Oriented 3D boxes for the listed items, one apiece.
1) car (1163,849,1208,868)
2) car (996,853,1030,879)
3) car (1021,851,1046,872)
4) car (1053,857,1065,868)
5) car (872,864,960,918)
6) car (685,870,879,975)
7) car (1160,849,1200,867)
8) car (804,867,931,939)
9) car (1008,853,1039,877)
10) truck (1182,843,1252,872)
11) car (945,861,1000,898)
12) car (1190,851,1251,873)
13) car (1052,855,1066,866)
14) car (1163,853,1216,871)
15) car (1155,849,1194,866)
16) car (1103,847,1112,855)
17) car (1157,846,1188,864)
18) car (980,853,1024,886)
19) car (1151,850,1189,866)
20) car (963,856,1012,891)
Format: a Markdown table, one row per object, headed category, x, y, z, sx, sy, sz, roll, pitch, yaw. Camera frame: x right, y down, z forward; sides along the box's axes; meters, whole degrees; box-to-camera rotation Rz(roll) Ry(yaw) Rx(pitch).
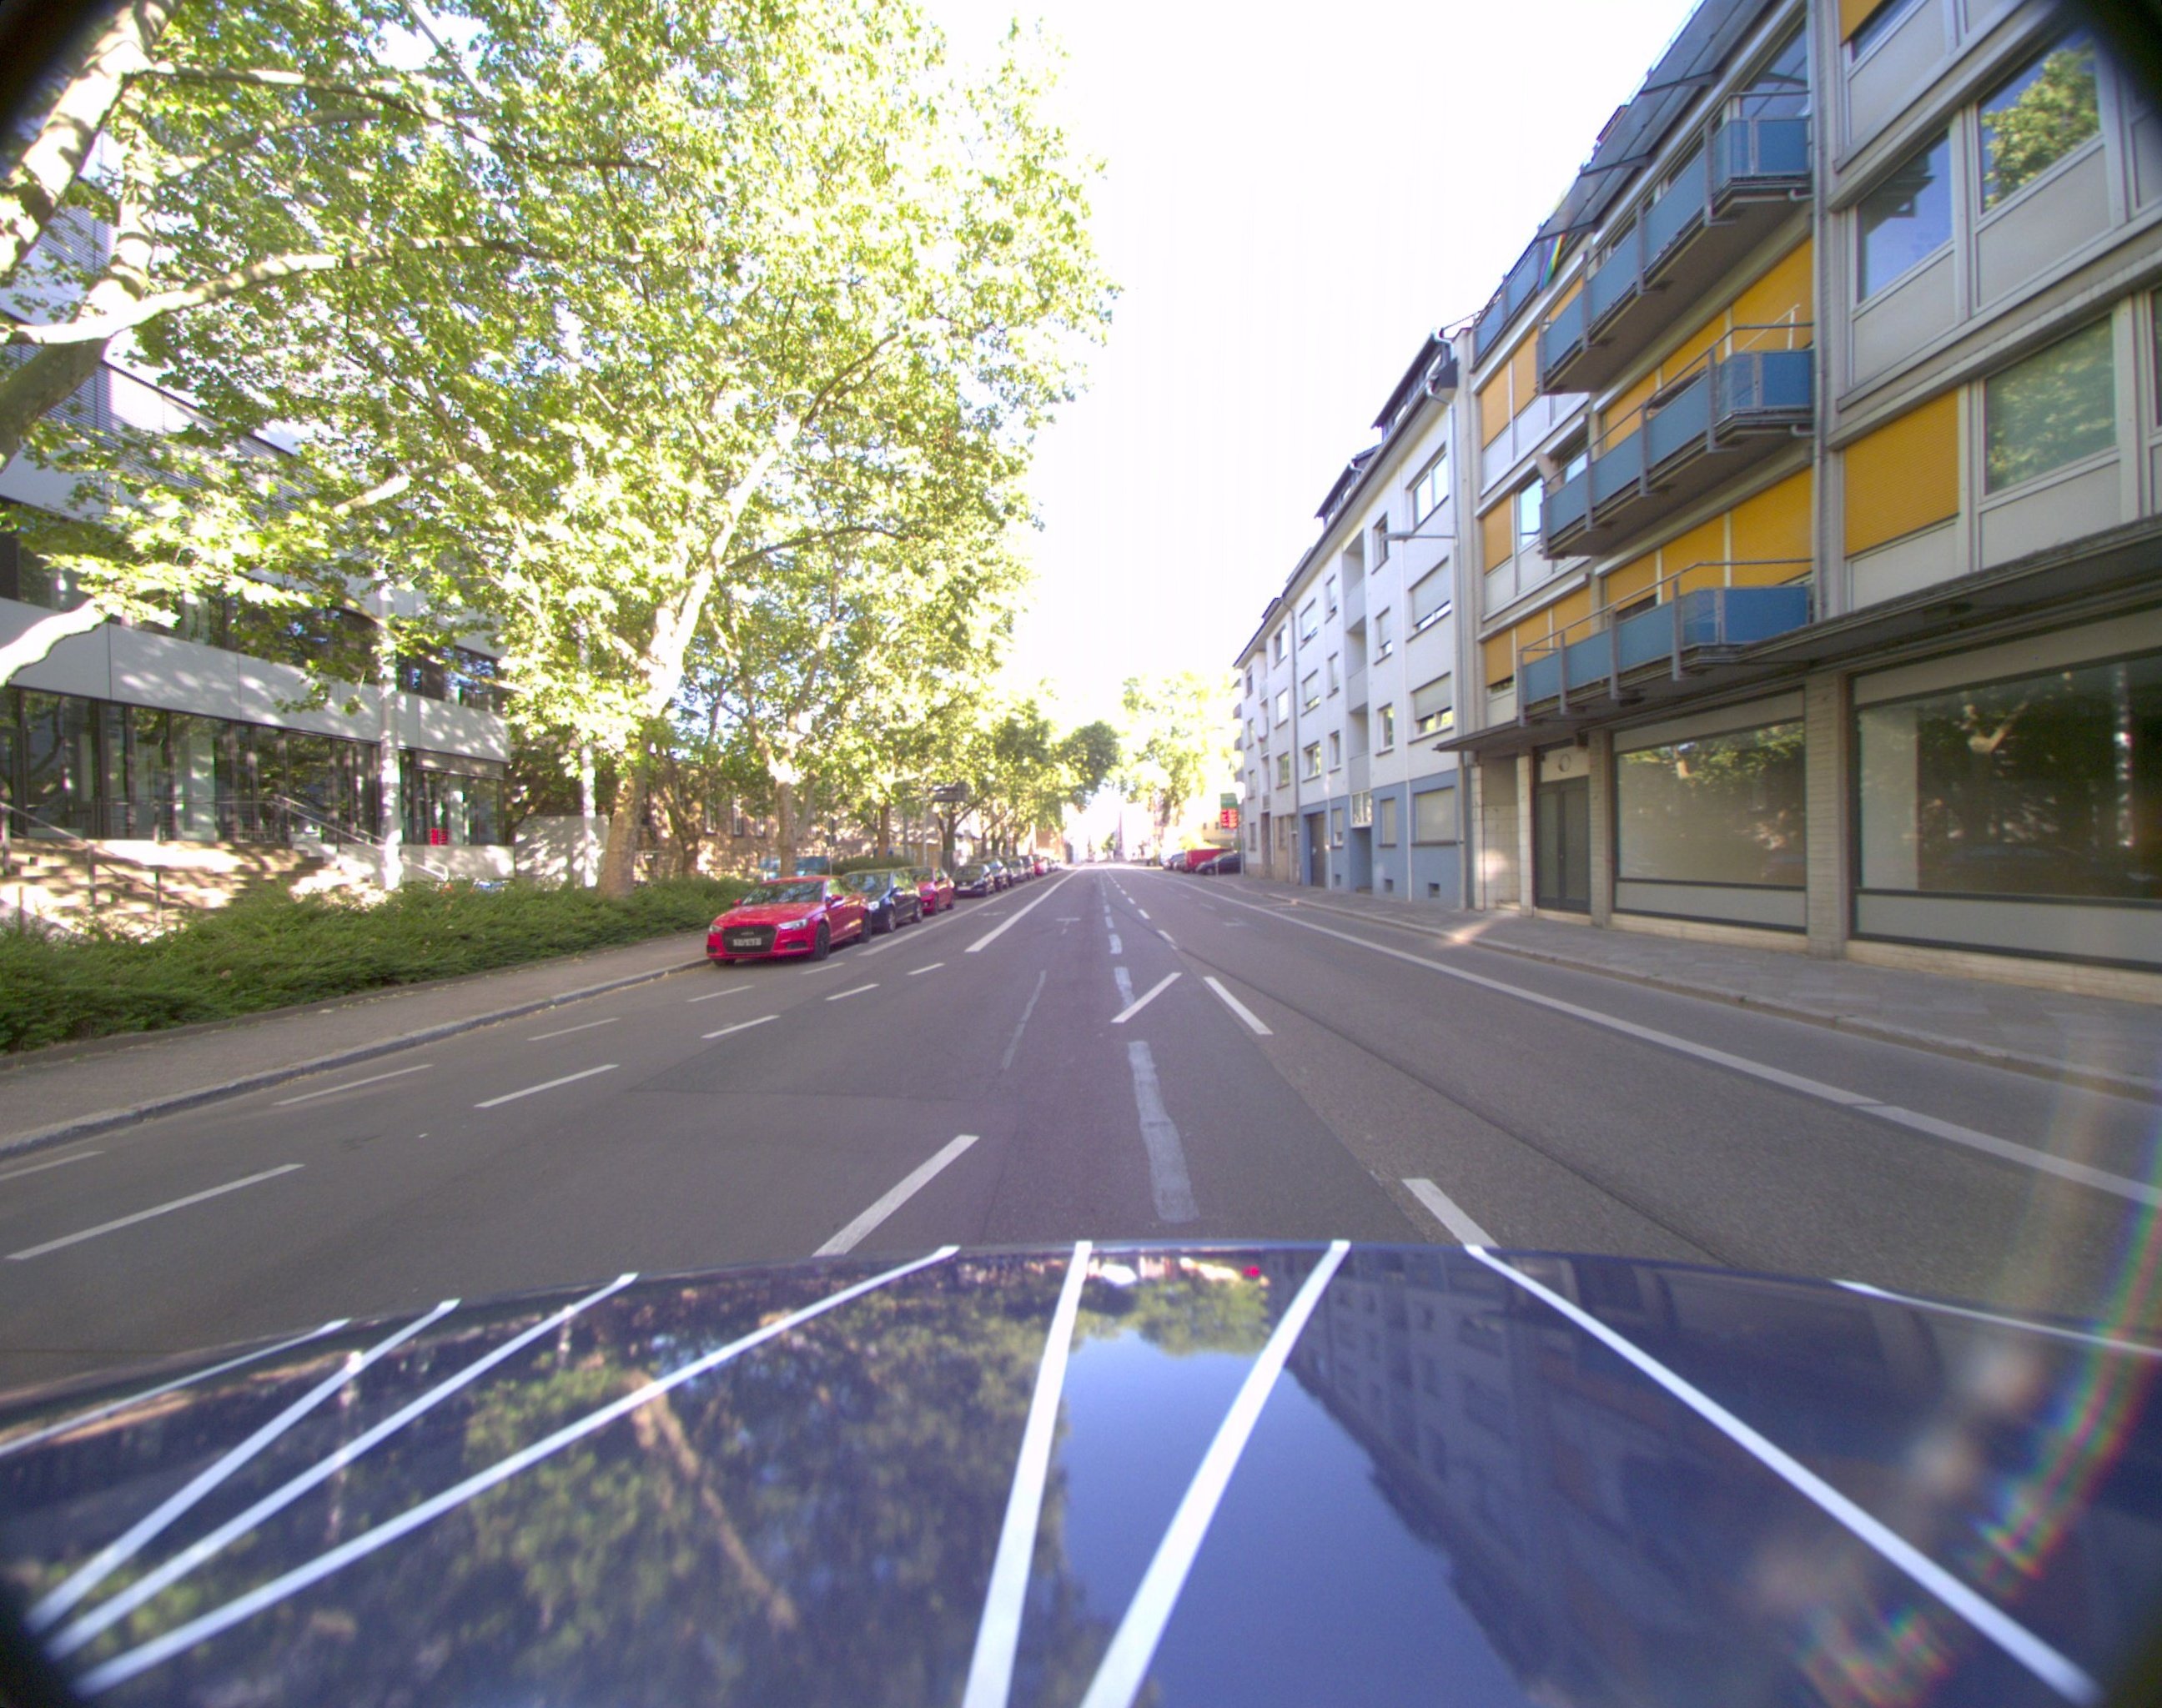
| category | x | y | z | sx | sy | sz | roll | pitch | yaw |
| --- | --- | --- | --- | --- | --- | --- | --- | --- | --- |
| car | 10.080 | 0.408 | 73.365 | 3.998 | 1.618 | 1.702 | -2 | 1 | -5 |
| car | -4.443 | 0.746 | 50.456 | 1.798 | 1.608 | 4.075 | -1 | 0 | 1 |
| car | -4.110 | 0.624 | 66.182 | 1.876 | 1.685 | 4.166 | -1 | 0 | 1 |
| car | -2.630 | 1.040 | 92.350 | 1.300 | 1.220 | 3.241 | -1 | 0 | 0 |
| car | -5.014 | 1.080 | 23.627 | 1.790 | 1.429 | 4.000 | -1 | 0 | 1 |
| car | -5.107 | 1.085 | 13.649 | 1.775 | 1.416 | 4.173 | -3 | 0 | 0 |
| car | 9.877 | 0.394 | 75.913 | 3.658 | 1.578 | 1.659 | -2 | 1 | -5 |
| car | -5.020 | 1.099 | 18.474 | 1.813 | 1.449 | 4.000 | -1 | 0 | 2 |
| car | -4.171 | 0.758 | 55.512 | 1.831 | 1.608 | 4.177 | -1 | 0 | 1 |
| truck | 10.725 | 0.249 | 60.099 | 5.088 | 2.009 | 2.000 | -2 | 1 | 0 |
| car | -4.679 | 1.087 | 33.266 | 1.745 | 1.430 | 4.000 | -1 | 0 | 1 |
| car | 10.064 | 0.543 | 54.950 | 3.997 | 1.385 | 1.781 | -2 | 1 | -1 |
| car | -2.974 | 0.828 | 102.907 | 1.707 | 1.459 | 3.809 | -1 | 0 | 0 |
| car | 8.928 | 0.660 | 62.733 | 4.033 | 1.265 | 1.906 | -2 | 1 | -1 |
| car | 9.613 | 0.391 | 78.571 | 3.703 | 1.573 | 1.718 | -2 | 1 | -5 |
| car | 6.762 | -0.772 | 193.464 | 1.998 | 2.002 | 3.999 | -2 | 1 | 1 |
| car | 10.229 | 0.121 | 85.269 | 3.267 | 1.927 | 1.693 | -2 | 1 | 2 |
| car | -4.547 | 0.874 | 44.195 | 1.998 | 1.715 | 4.262 | -2 | 1 | 1 |
| car | 9.483 | 0.387 | 80.863 | 3.728 | 1.579 | 1.743 | -2 | 1 | -5 |
| car | -4.625 | 0.926 | 38.212 | 1.848 | 1.572 | 4.232 | -1 | 0 | 1 |
